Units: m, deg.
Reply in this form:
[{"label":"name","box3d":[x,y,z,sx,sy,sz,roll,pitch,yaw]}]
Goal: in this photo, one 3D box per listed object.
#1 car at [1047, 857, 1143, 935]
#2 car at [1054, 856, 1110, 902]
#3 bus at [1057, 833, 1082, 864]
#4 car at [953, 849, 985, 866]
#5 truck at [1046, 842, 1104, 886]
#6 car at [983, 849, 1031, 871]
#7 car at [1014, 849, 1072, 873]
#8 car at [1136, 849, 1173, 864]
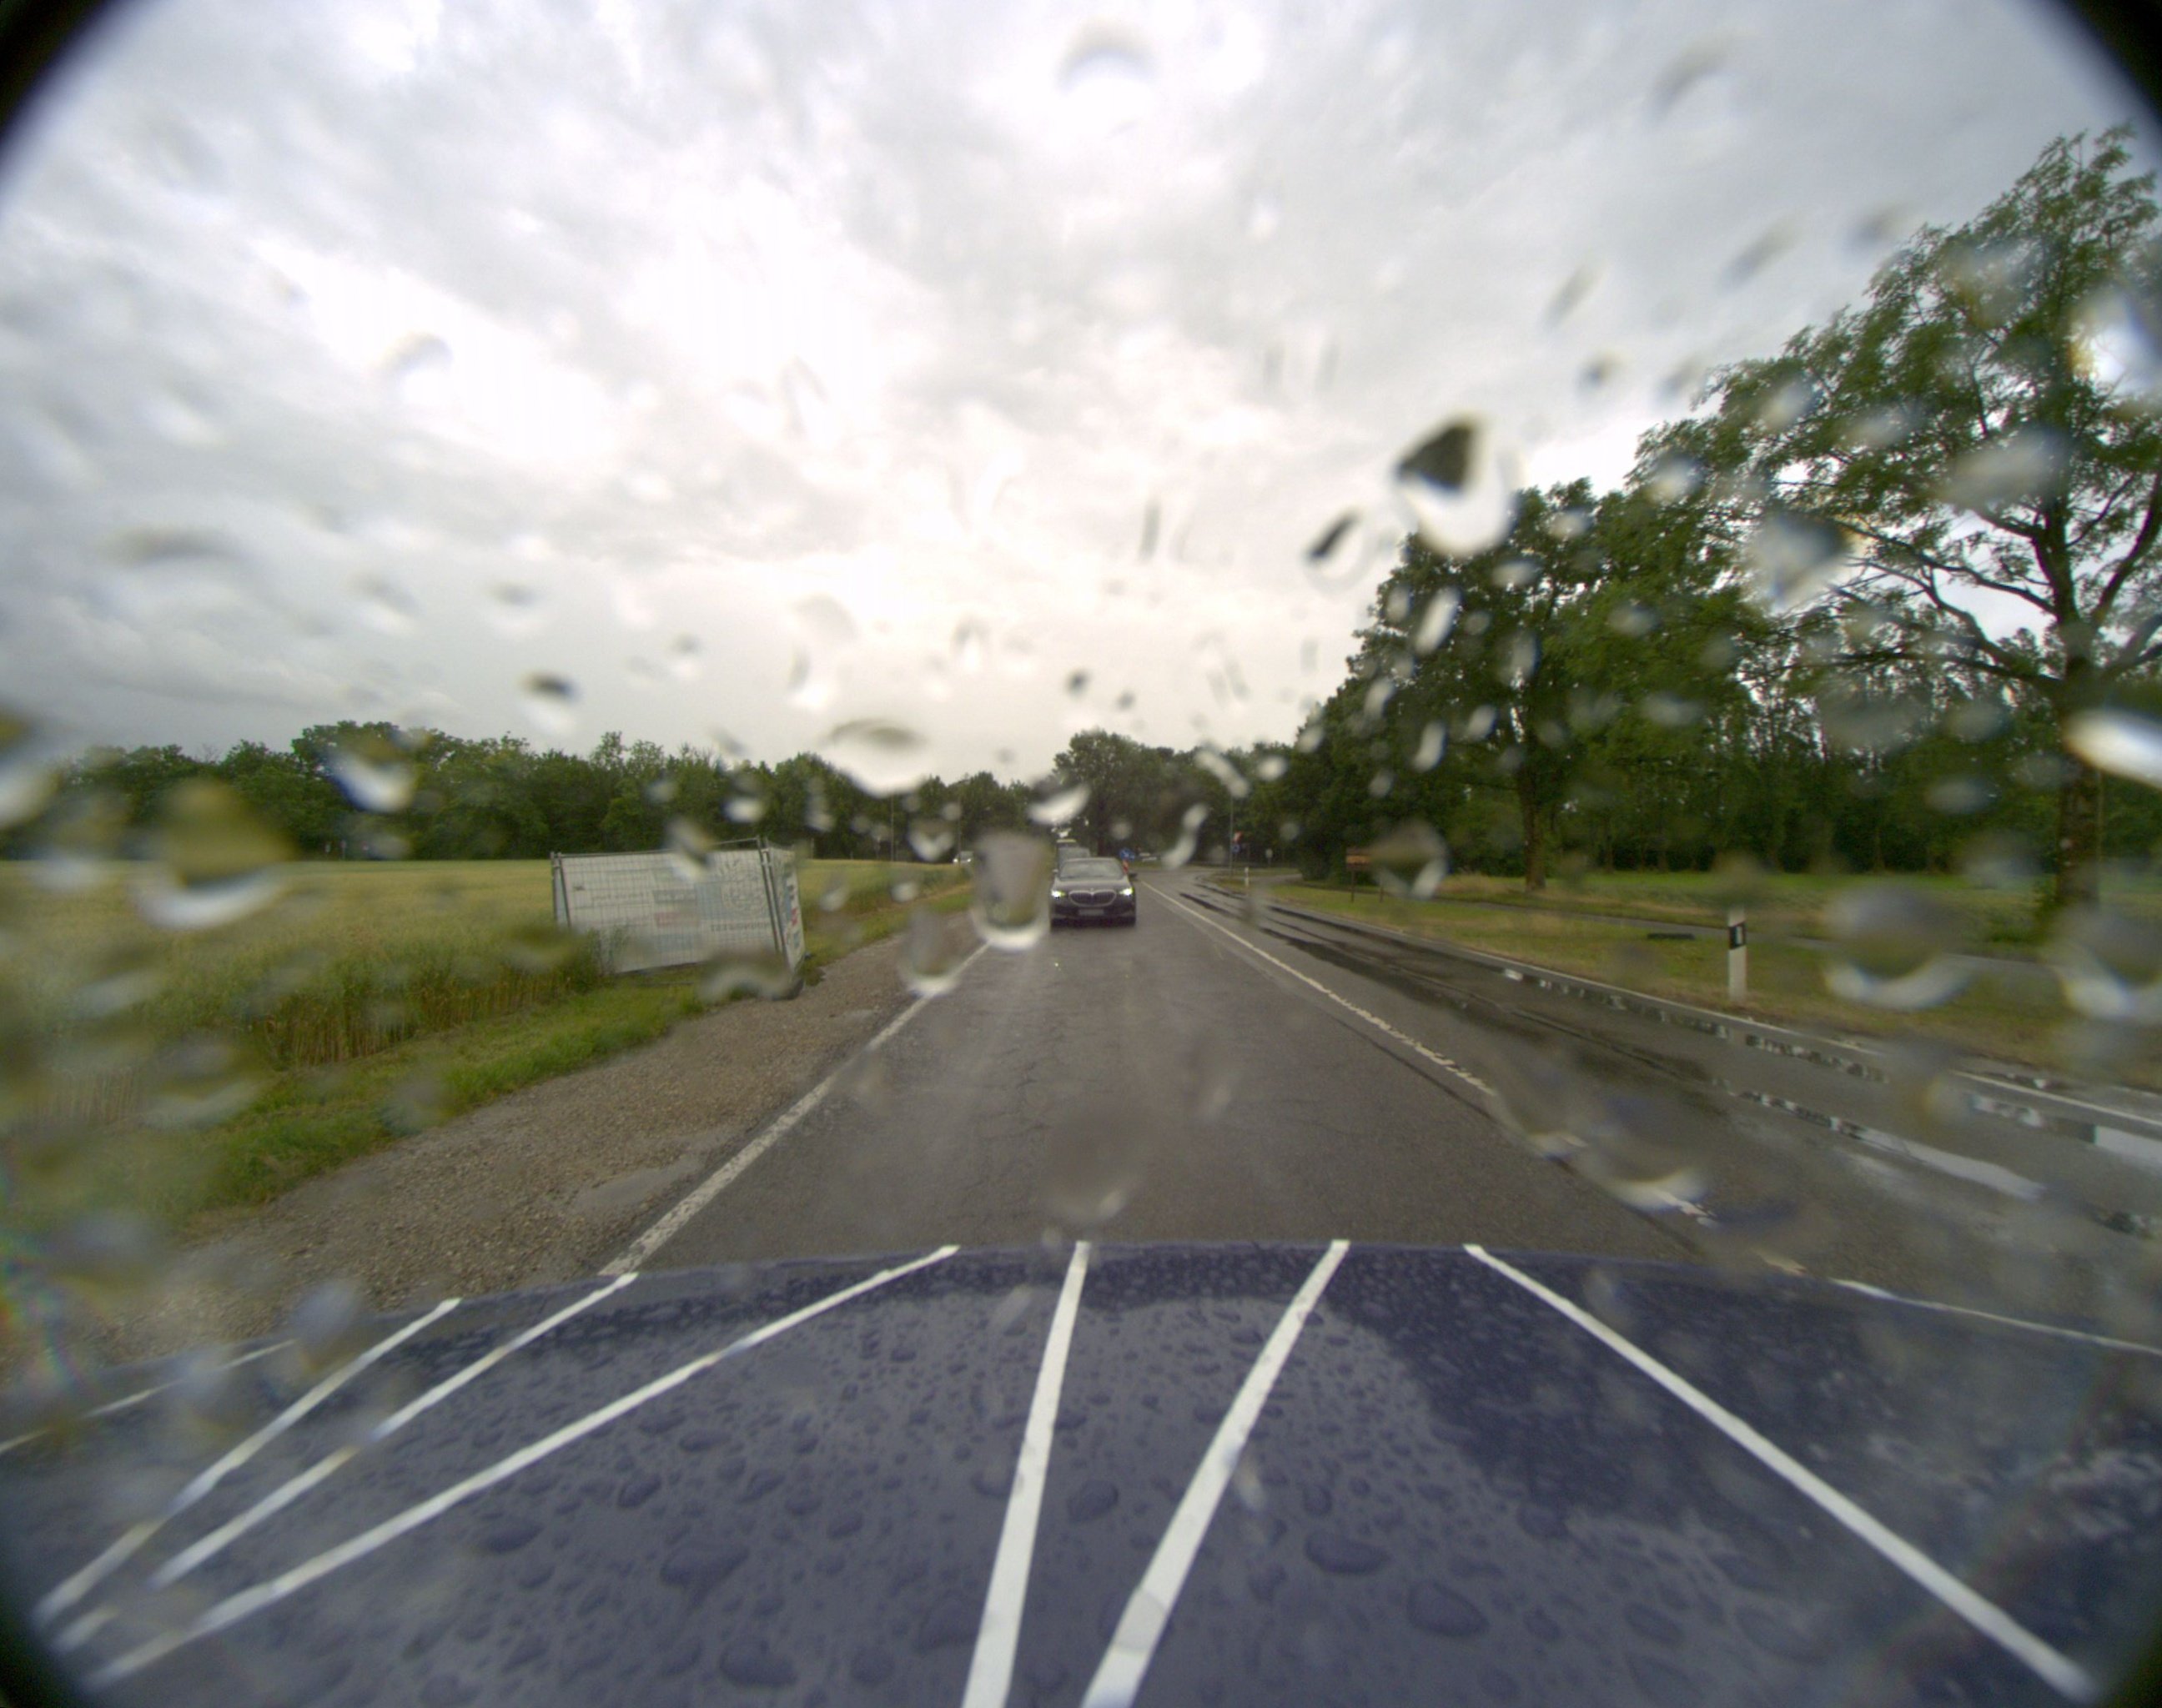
[{"label":"car","box3d":[0.257,0.861,17.271,1.892,1.484,4.035,-1,0,-1]},{"label":"car","box3d":[-0.038,0.844,28.012,1.892,1.482,4.190,-2,1,-2]},{"label":"bus","box3d":[-1.432,-0.716,99.983,2.996,3.665,14.293,1,0,0]},{"label":"car","box3d":[-10.295,0.296,70.113,1.891,1.522,4.503,-1,0,5]},{"label":"truck","box3d":[-0.422,0.469,40.347,2.077,2.050,5.763,-3,1,-10]},{"label":"car","box3d":[-5.685,0.443,57.777,1.896,1.522,4.491,-2,0,-31]},{"label":"car","box3d":[-2.662,0.486,52.376,1.896,1.522,5.243,-2,0,-28]},{"label":"car","box3d":[7.839,0.272,81.190,3.723,1.489,1.685,1,0,44]}]
